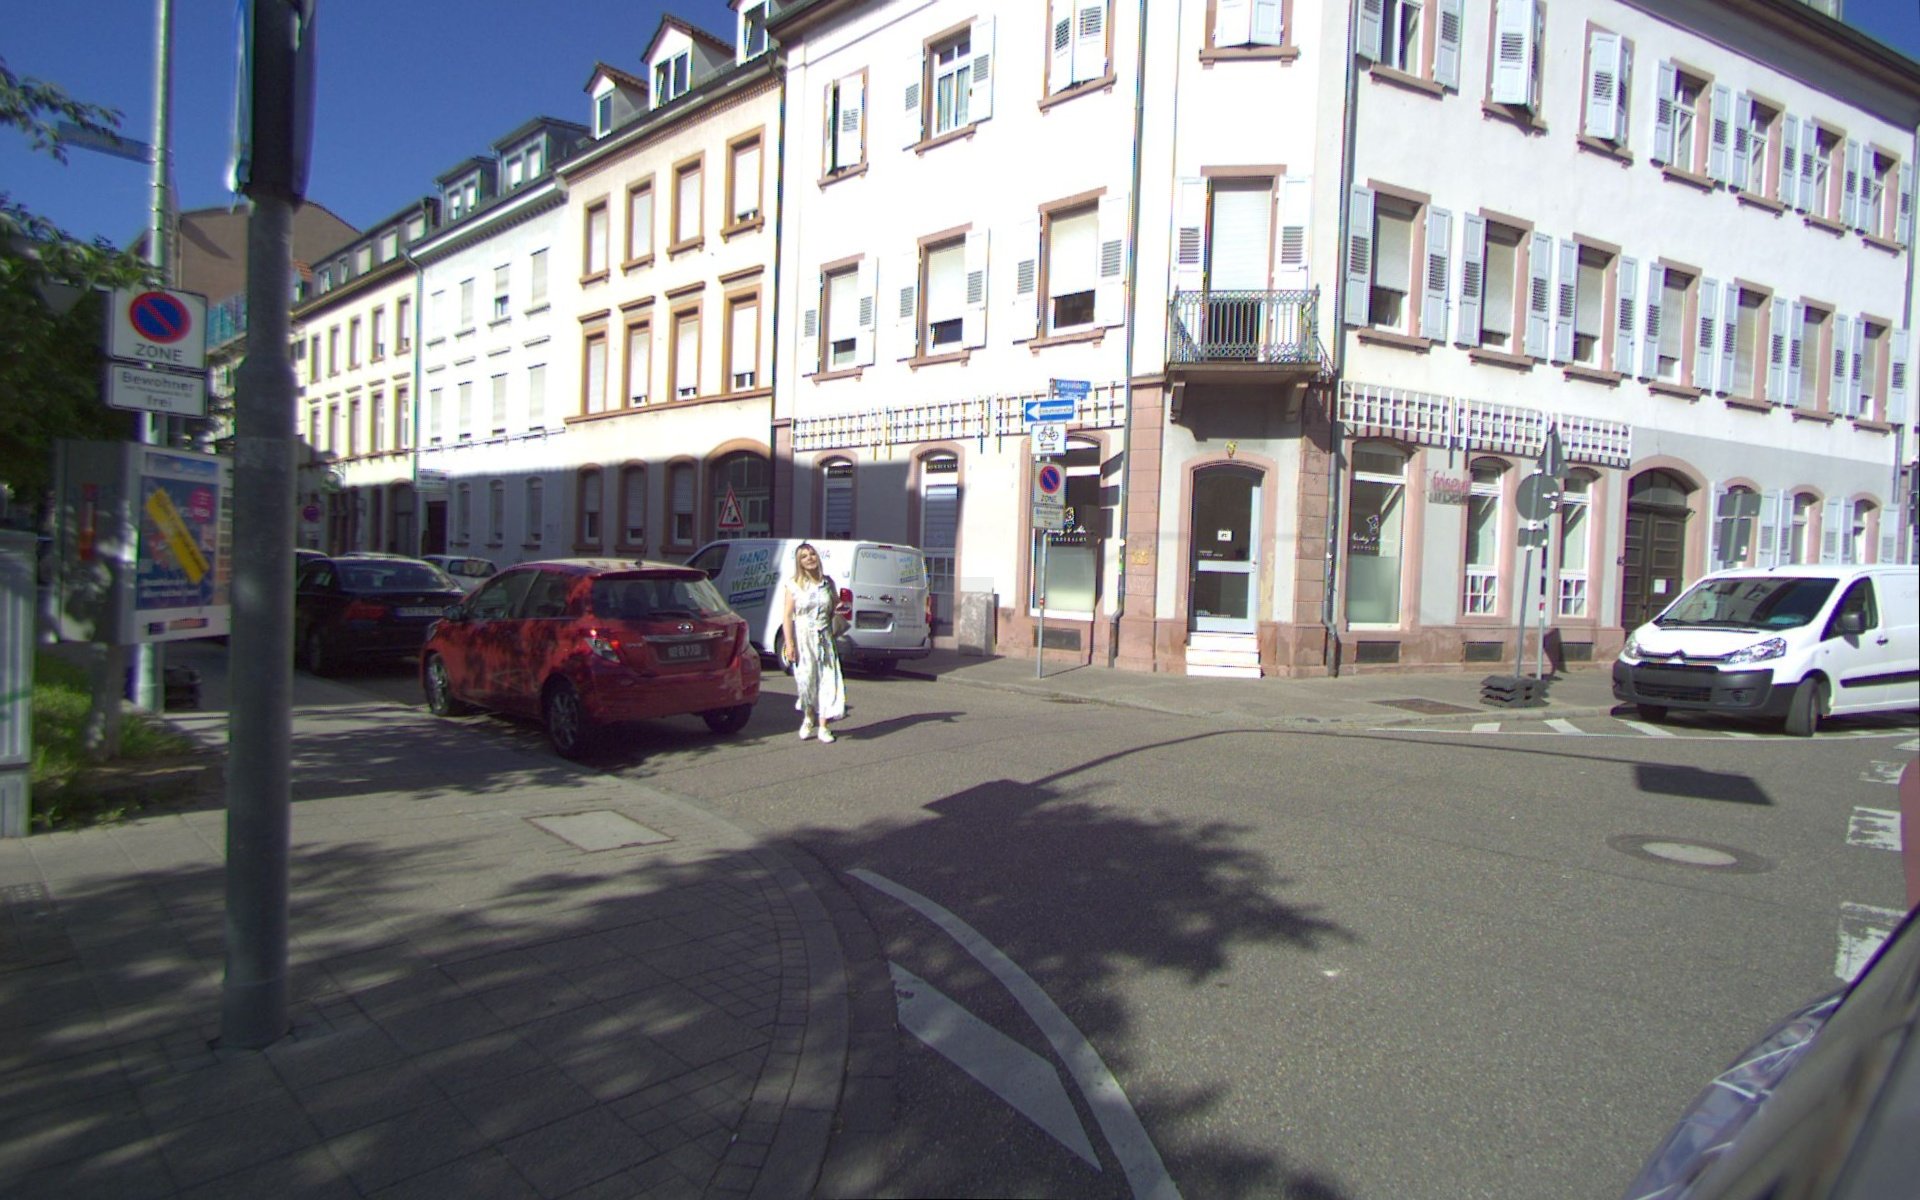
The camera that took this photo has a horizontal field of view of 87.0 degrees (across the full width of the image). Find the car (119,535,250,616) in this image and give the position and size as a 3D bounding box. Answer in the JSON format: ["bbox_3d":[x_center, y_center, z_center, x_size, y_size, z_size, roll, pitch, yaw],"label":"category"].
[{"bbox_3d":[-16.261,-0.552,21.157,3.752,1.519,1.633,4,2,44],"label":"car"}]

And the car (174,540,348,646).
[{"bbox_3d":[-11.540,-0.178,16.609,3.752,1.519,1.633,4,2,44],"label":"car"}]

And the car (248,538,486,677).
[{"bbox_3d":[-7.830,-0.006,13.195,4.067,1.519,1.633,4,2,44],"label":"car"}]

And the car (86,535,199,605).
[{"bbox_3d":[-19.410,-0.743,23.977,3.752,1.519,1.633,4,2,44],"label":"car"}]

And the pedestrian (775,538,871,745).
[{"bbox_3d":[-1.148,0.321,8.449,0.720,1.634,0.818,1,2,-9],"label":"pedestrian"}]

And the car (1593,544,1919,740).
[{"bbox_3d":[10.218,0.424,12.047,4.920,1.970,2.055,1,2,-24],"label":"car"}]

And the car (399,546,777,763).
[{"bbox_3d":[-3.500,0.301,9.199,3.793,1.518,1.665,4,4,42],"label":"car"}]

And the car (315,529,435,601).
[{"bbox_3d":[-16.449,-1.001,28.362,3.983,1.882,1.871,4,2,44],"label":"car"}]

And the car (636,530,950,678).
[{"bbox_3d":[-2.673,-0.033,15.319,4.994,1.882,1.872,4,0,41],"label":"car"}]

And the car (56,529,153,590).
[{"bbox_3d":[-23.194,-1.121,27.390,3.752,1.519,1.633,4,2,44],"label":"car"}]

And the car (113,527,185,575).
[{"bbox_3d":[-33.863,-2.065,42.223,3.983,1.882,1.871,4,2,44],"label":"car"}]

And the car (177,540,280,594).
[{"bbox_3d":[-21.994,-1.017,30.378,3.950,1.475,1.808,4,3,44],"label":"car"}]

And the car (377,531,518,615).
[{"bbox_3d":[-12.617,-0.705,24.823,3.983,1.882,1.871,4,2,44],"label":"car"}]
